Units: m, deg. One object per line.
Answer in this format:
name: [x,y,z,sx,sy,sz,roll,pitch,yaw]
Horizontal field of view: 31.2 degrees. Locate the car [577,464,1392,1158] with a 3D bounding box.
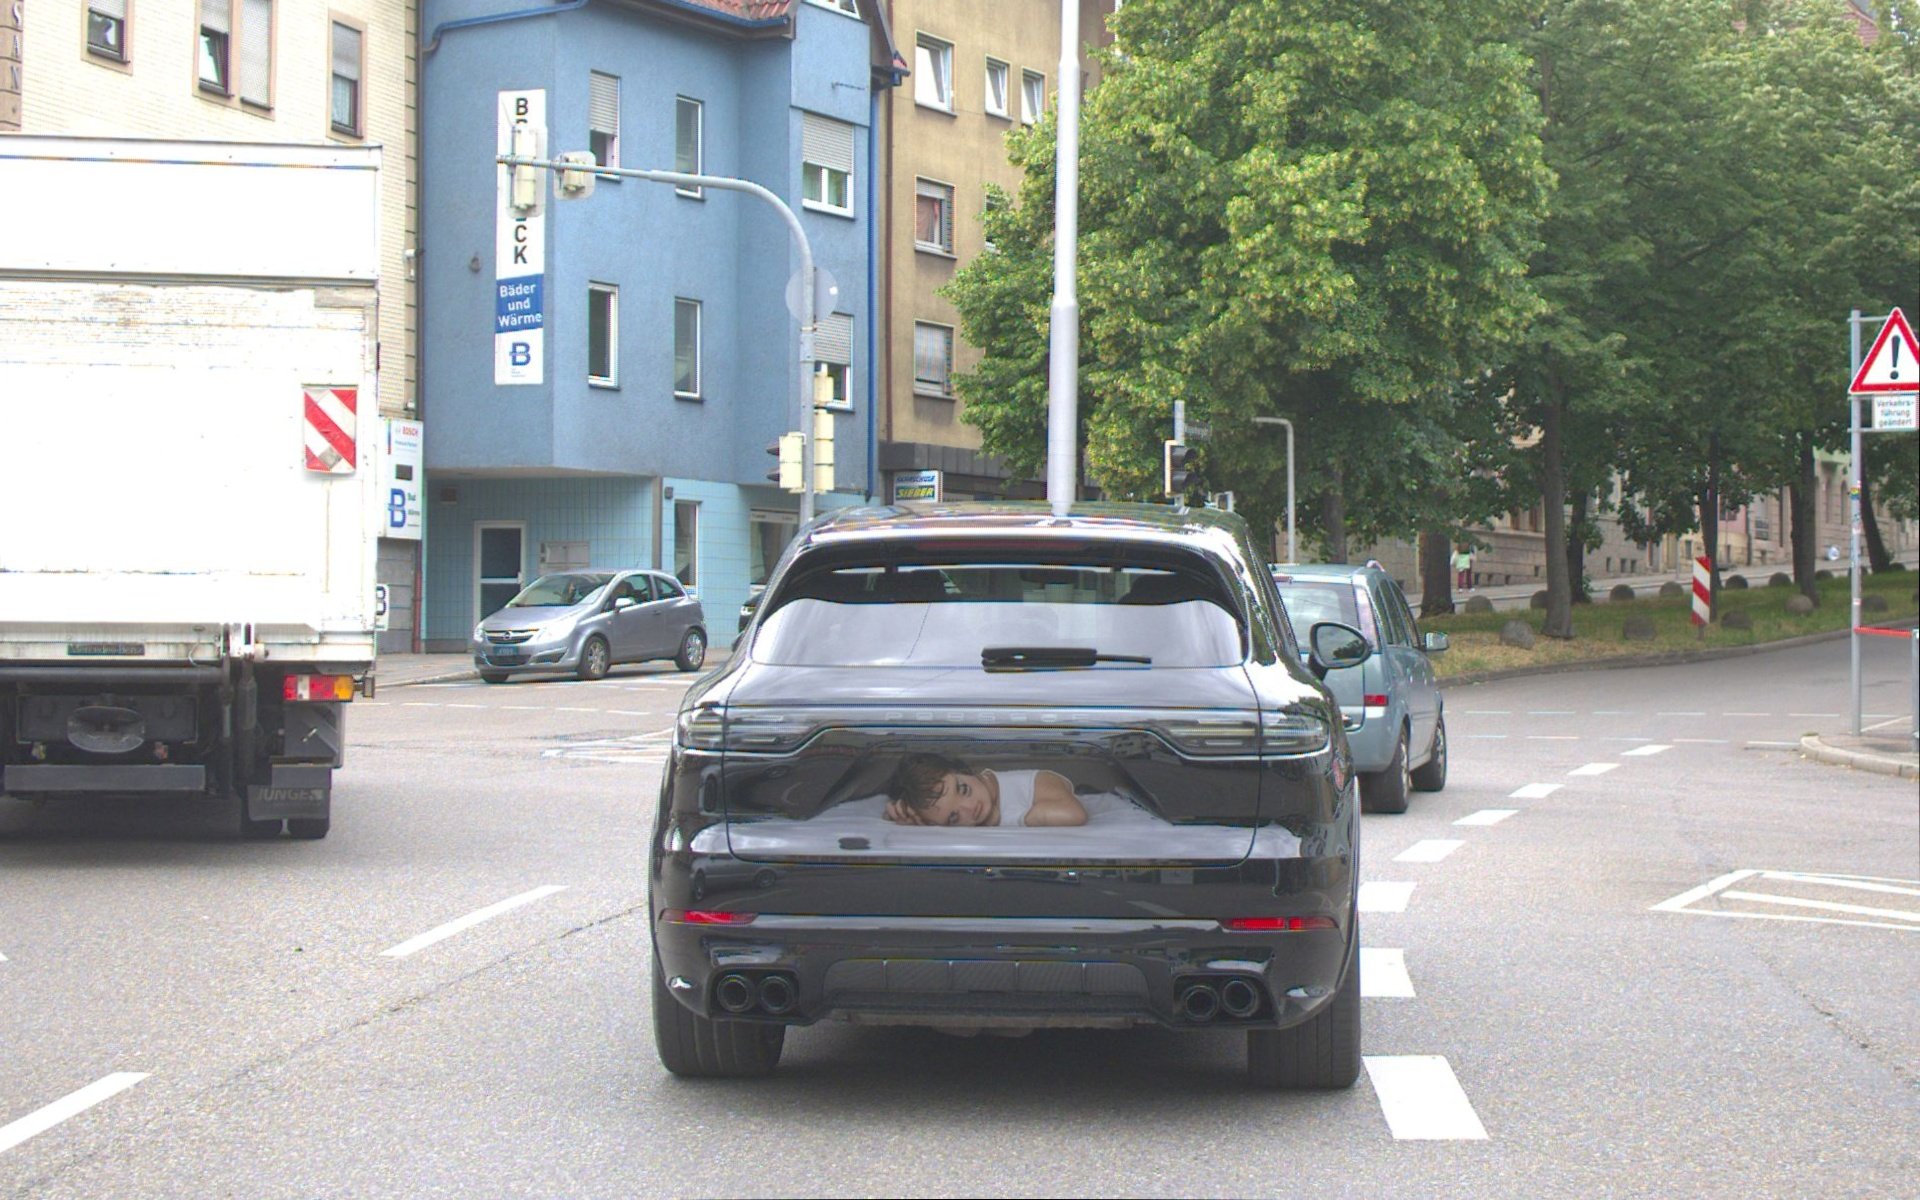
car: [0.131,0.488,10.944,2.032,1.717,4.500,1,1,2]

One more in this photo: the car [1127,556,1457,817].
car: [2.293,0.534,22.960,1.650,1.550,3.580,2,0,14]

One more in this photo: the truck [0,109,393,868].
truck: [-4.815,-0.575,20.258,2.724,3.532,8.424,1,1,-10]

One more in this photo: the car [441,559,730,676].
car: [-4.910,0.219,45.655,1.719,1.471,4.212,-1,0,28]

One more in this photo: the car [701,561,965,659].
car: [-1.856,0.123,51.906,1.873,1.411,4.691,0,1,28]

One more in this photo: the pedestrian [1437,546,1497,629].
pedestrian: [12.535,-0.309,84.976,1.194,2.007,0.987,1,1,26]
